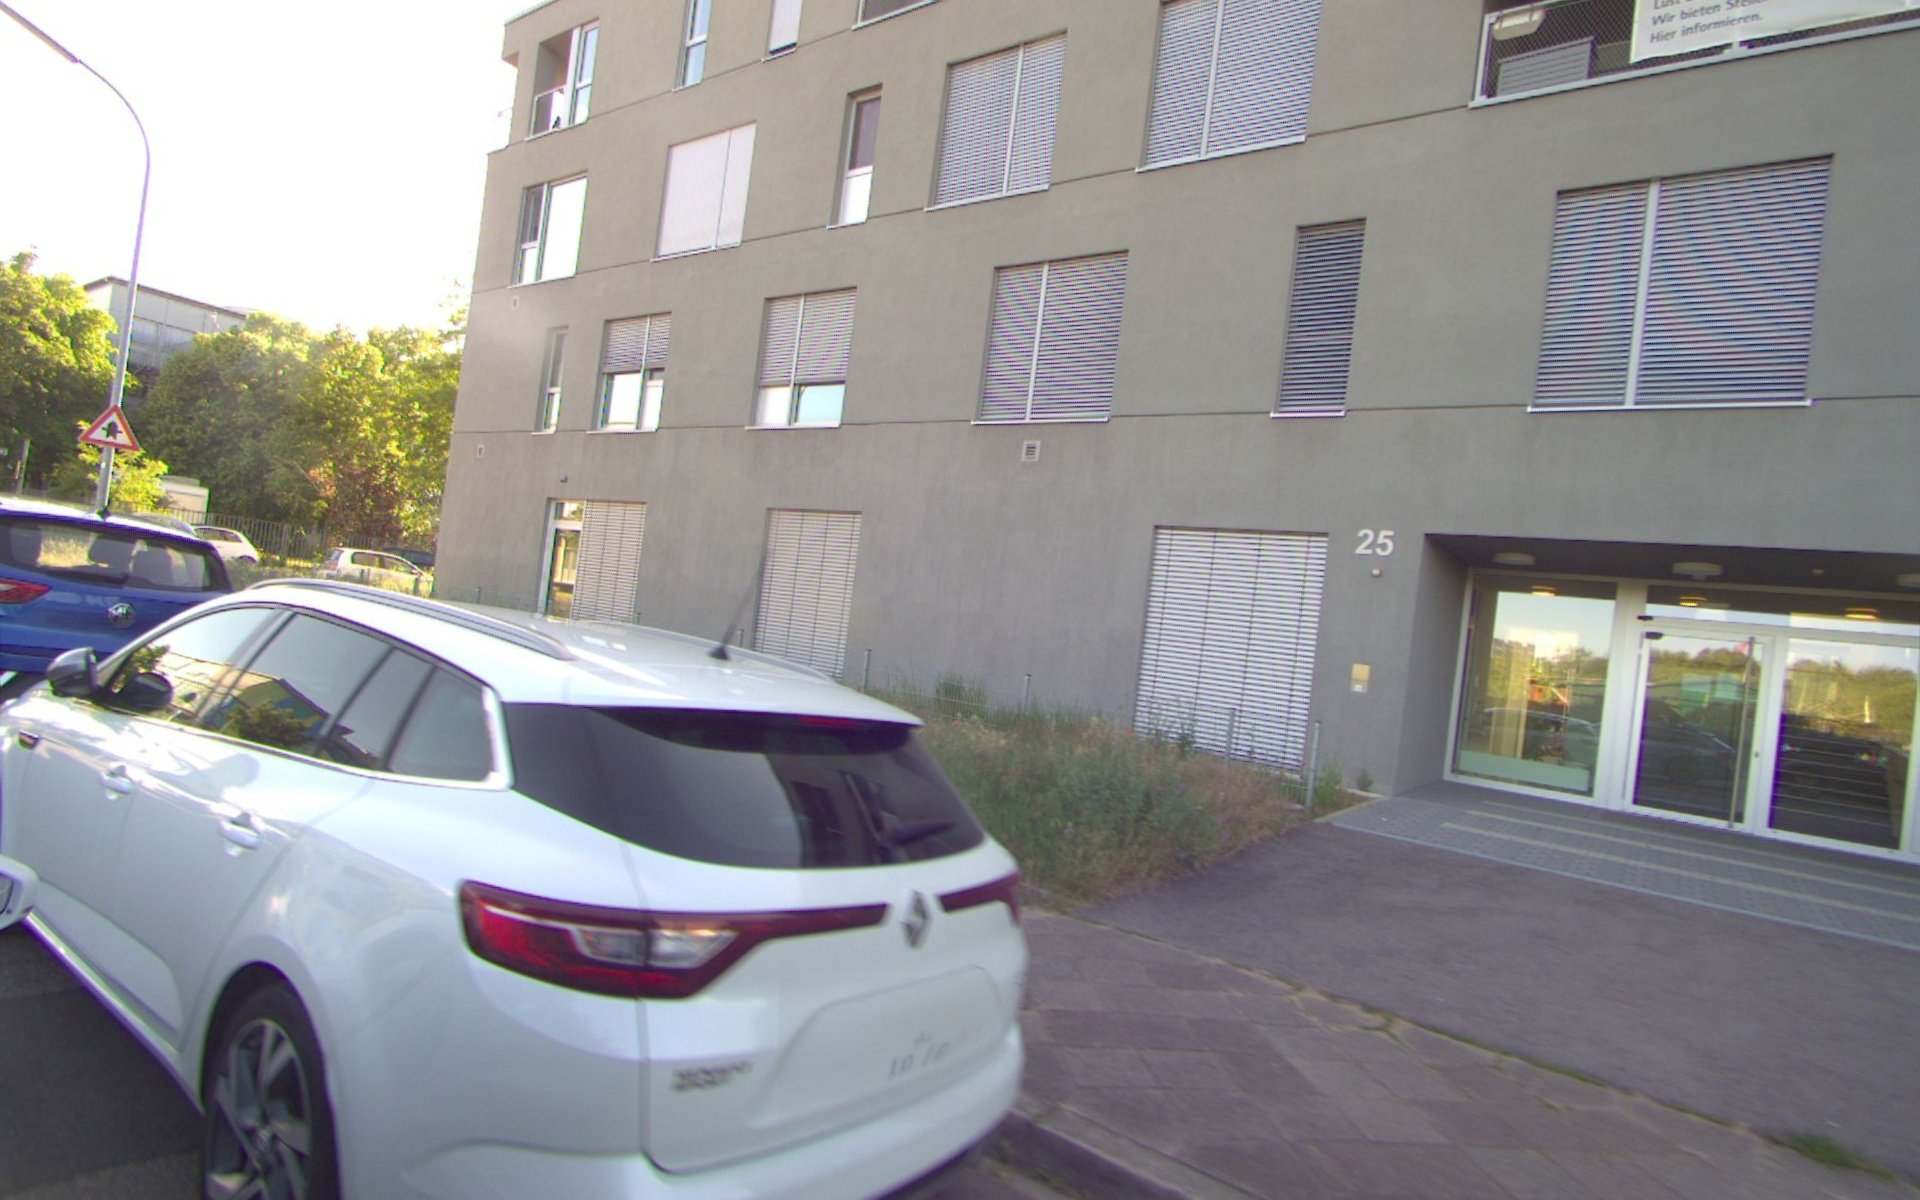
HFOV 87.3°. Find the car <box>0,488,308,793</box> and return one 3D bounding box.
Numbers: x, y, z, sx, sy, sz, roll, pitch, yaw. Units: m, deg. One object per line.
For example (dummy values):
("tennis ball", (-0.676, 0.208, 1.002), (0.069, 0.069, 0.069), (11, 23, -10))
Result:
("car", (-6.677, 0.085, 7.068), (4.555, 1.617, 1.820), (6, -3, 36))

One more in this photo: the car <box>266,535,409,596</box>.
("car", (-23.404, -1.279, 37.951), (1.729, 1.656, 4.154), (6, -2, 37))

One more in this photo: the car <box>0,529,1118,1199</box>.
("car", (-1.947, 0.705, 3.475), (4.516, 1.445, 1.747), (6, -3, 37))

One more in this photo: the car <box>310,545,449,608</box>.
("car", (-18.259, -0.726, 31.712), (1.691, 1.475, 3.324), (6, -2, 41))

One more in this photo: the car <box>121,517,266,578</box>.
("car", (-26.205, -1.767, 34.475), (1.576, 1.503, 3.547), (6, -2, 37))
